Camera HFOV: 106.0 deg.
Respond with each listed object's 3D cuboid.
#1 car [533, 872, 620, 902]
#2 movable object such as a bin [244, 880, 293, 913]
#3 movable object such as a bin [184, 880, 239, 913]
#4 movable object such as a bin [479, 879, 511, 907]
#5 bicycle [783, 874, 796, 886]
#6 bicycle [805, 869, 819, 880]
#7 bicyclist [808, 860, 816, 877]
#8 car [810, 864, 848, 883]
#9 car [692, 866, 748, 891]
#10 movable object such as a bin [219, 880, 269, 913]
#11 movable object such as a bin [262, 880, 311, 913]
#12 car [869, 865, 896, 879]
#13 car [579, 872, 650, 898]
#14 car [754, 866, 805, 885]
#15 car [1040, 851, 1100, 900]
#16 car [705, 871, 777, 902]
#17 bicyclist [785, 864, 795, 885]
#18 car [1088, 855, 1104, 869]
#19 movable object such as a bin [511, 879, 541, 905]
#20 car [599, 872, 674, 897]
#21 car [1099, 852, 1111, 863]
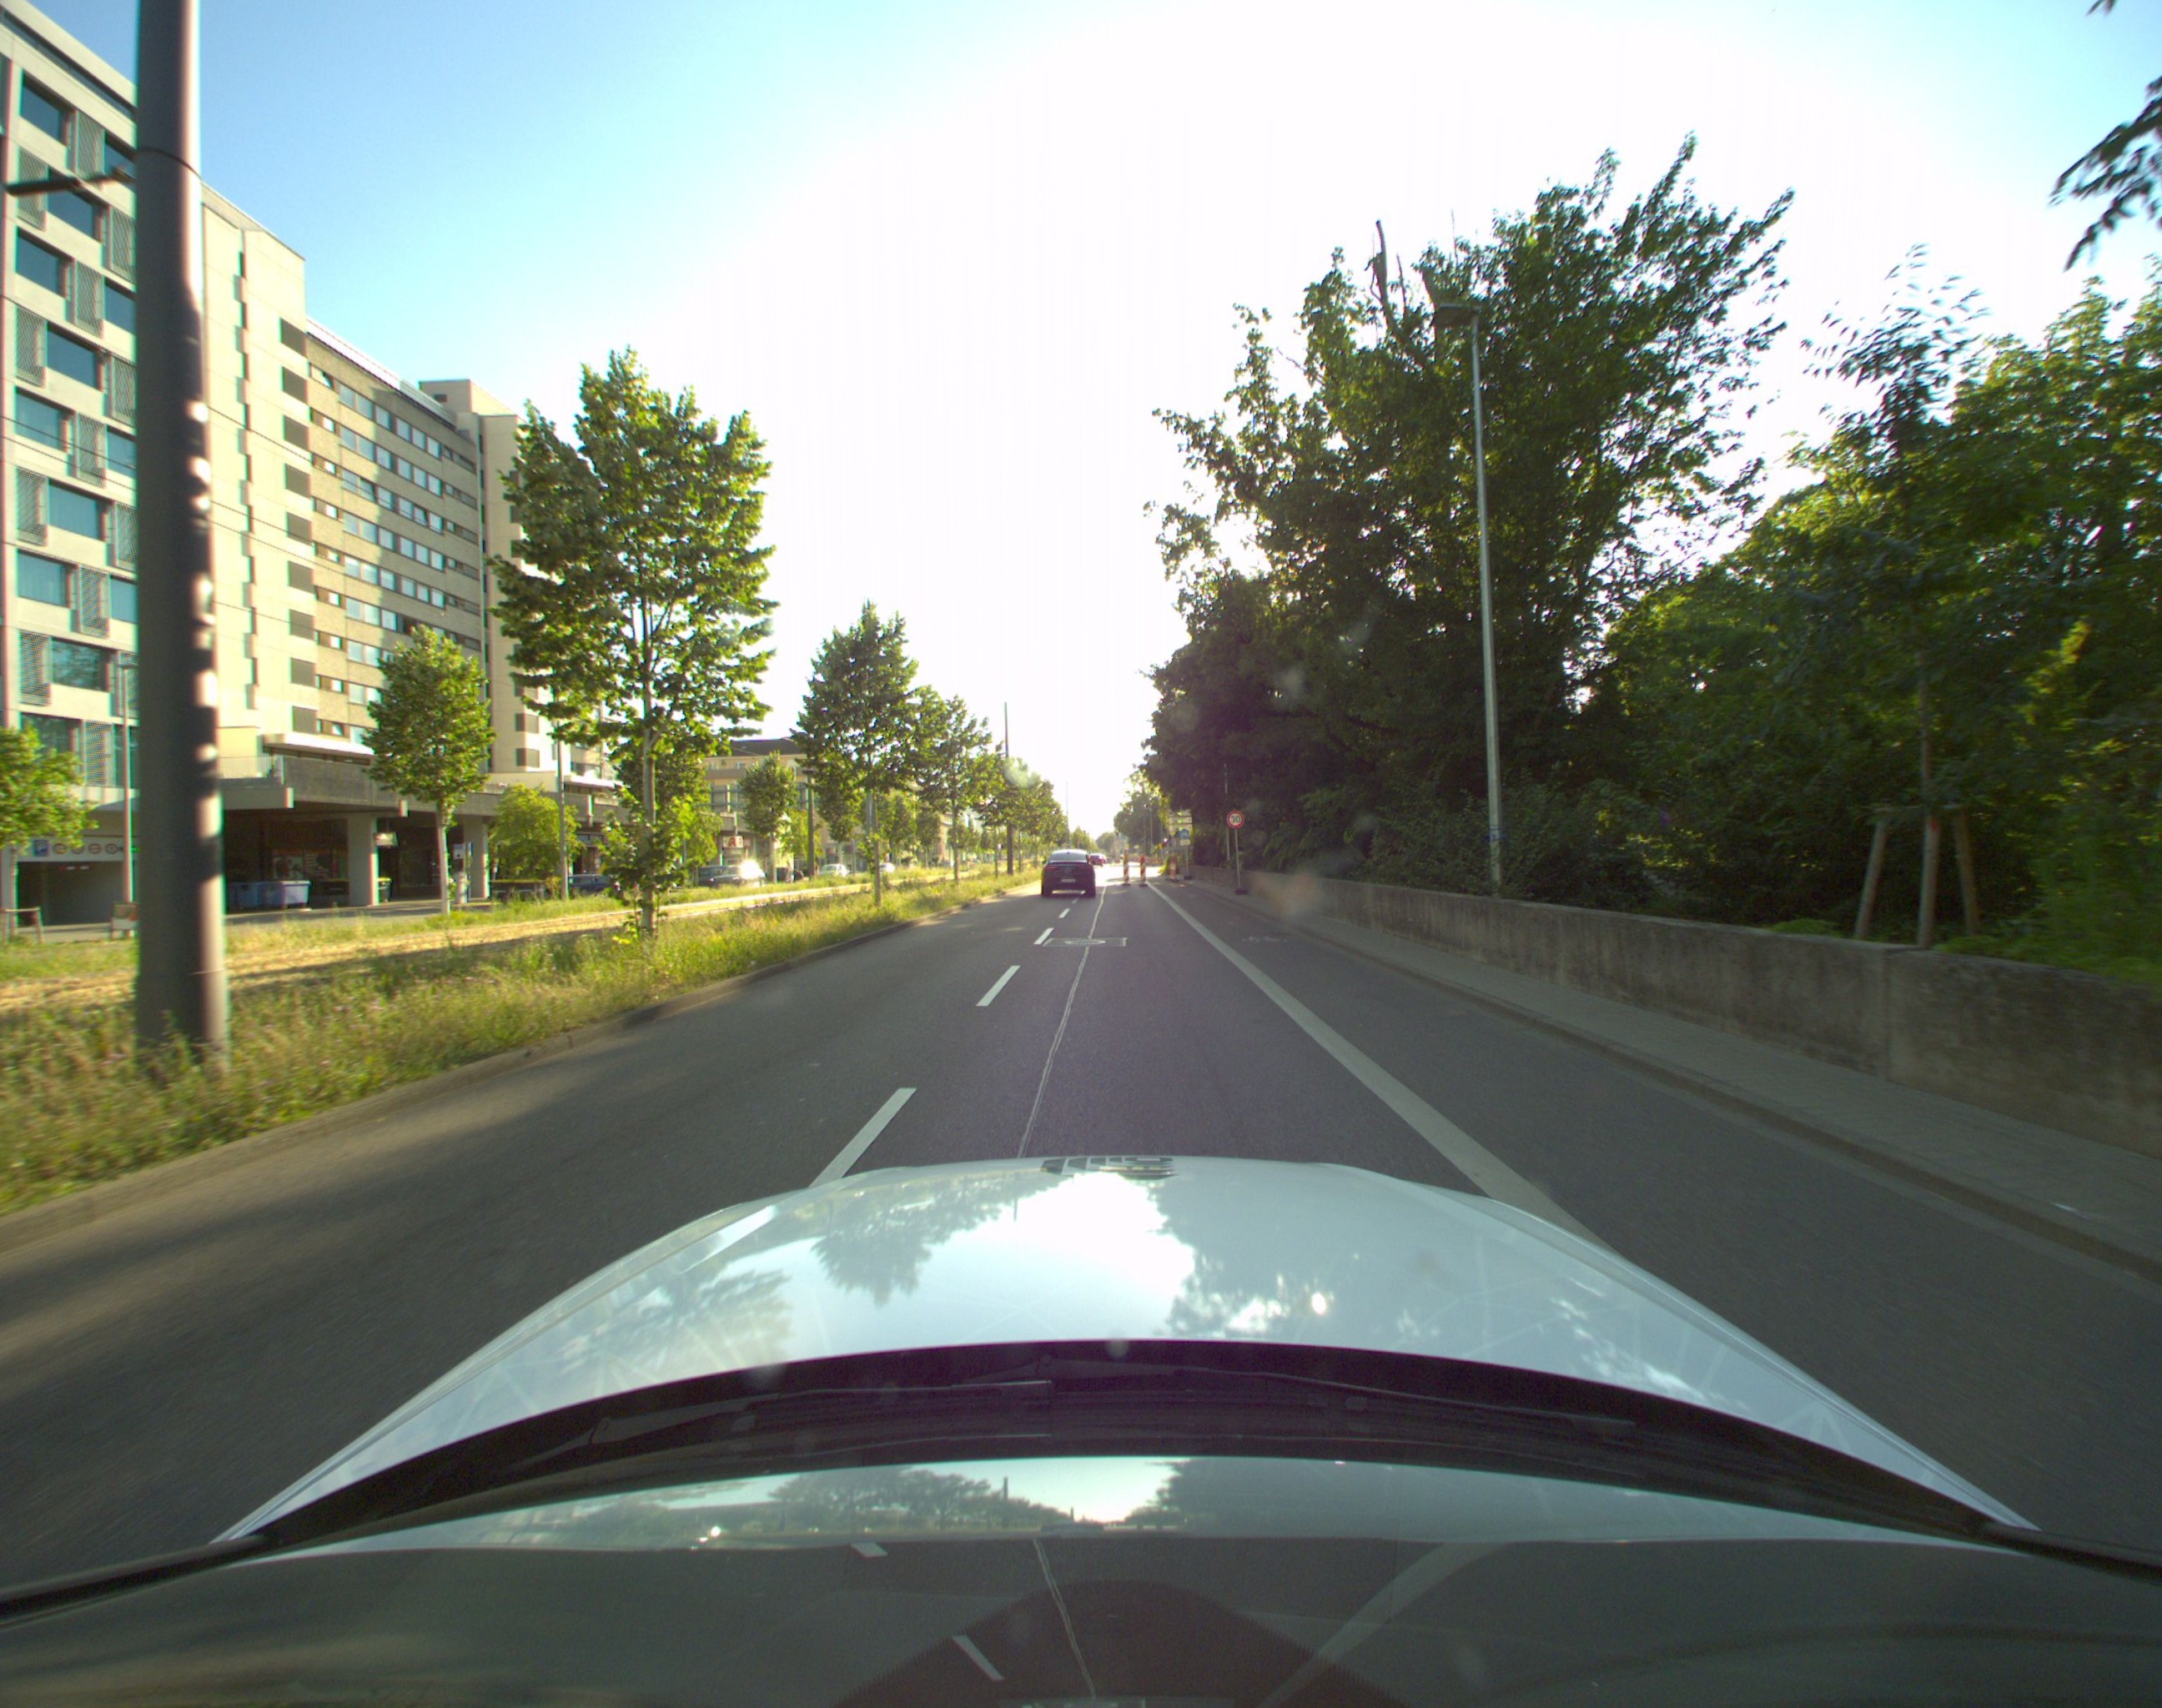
[{"bbox_3d":[-29.430,1.909,47.540,4.116,1.601,1.730,1,0,-39],"label":"car"},{"bbox_3d":[-37.486,1.949,37.591,0.797,1.440,1.404,-2,0,2],"label":"movable object such as a bin"},{"bbox_3d":[-39.983,1.945,37.467,0.937,1.440,1.404,-2,0,2],"label":"movable object such as a bin"},{"bbox_3d":[-30.160,1.993,41.928,0.851,1.357,0.944,-2,0,16],"label":"movable object such as a bin"},{"bbox_3d":[-25.486,2.234,71.192,0.542,0.993,1.711,0,0,0],"label":"bicycle"},{"bbox_3d":[-24.896,1.900,75.361,0.552,1.040,1.792,0,0,3],"label":"bicycle"},{"bbox_3d":[-24.902,1.376,75.420,0.549,1.544,0.682,0,0,3],"label":"bicyclist"},{"bbox_3d":[-22.336,1.704,72.405,1.877,1.514,4.004,-1,0,4],"label":"car"},{"bbox_3d":[-28.467,1.908,64.244,3.777,1.829,1.804,0,0,-38],"label":"car"},{"bbox_3d":[-38.635,1.958,37.596,0.797,1.440,1.404,-2,0,2],"label":"movable object such as a bin"},{"bbox_3d":[-36.617,1.941,37.565,0.797,1.440,1.404,-2,0,2],"label":"movable object such as a bin"},{"bbox_3d":[-22.265,2.027,91.497,1.877,1.514,4.004,-1,0,4],"label":"car"},{"bbox_3d":[-29.228,1.931,51.024,3.643,1.523,1.602,1,-1,-39],"label":"car"},{"bbox_3d":[-28.045,1.980,75.748,4.020,1.563,1.977,0,0,-40],"label":"car"},{"bbox_3d":[-0.496,0.767,30.986,1.990,1.734,3.993,-1,0,-5],"label":"car"},{"bbox_3d":[-20.568,1.922,49.516,1.877,1.689,5.094,-1,0,4],"label":"car"},{"bbox_3d":[-25.493,1.814,71.275,0.538,1.788,0.858,0,0,-1],"label":"bicyclist"},{"bbox_3d":[1.801,0.914,98.818,1.879,1.580,4.002,-1,1,1],"label":"car"},{"bbox_3d":[-28.765,1.981,42.212,0.851,1.280,0.944,-2,0,16],"label":"movable object such as a bin"},{"bbox_3d":[-29.392,2.002,53.903,1.764,1.453,4.024,-1,0,44],"label":"car"},{"bbox_3d":[3.658,0.539,123.487,1.760,1.604,3.774,-2,0,1],"label":"car"}]
